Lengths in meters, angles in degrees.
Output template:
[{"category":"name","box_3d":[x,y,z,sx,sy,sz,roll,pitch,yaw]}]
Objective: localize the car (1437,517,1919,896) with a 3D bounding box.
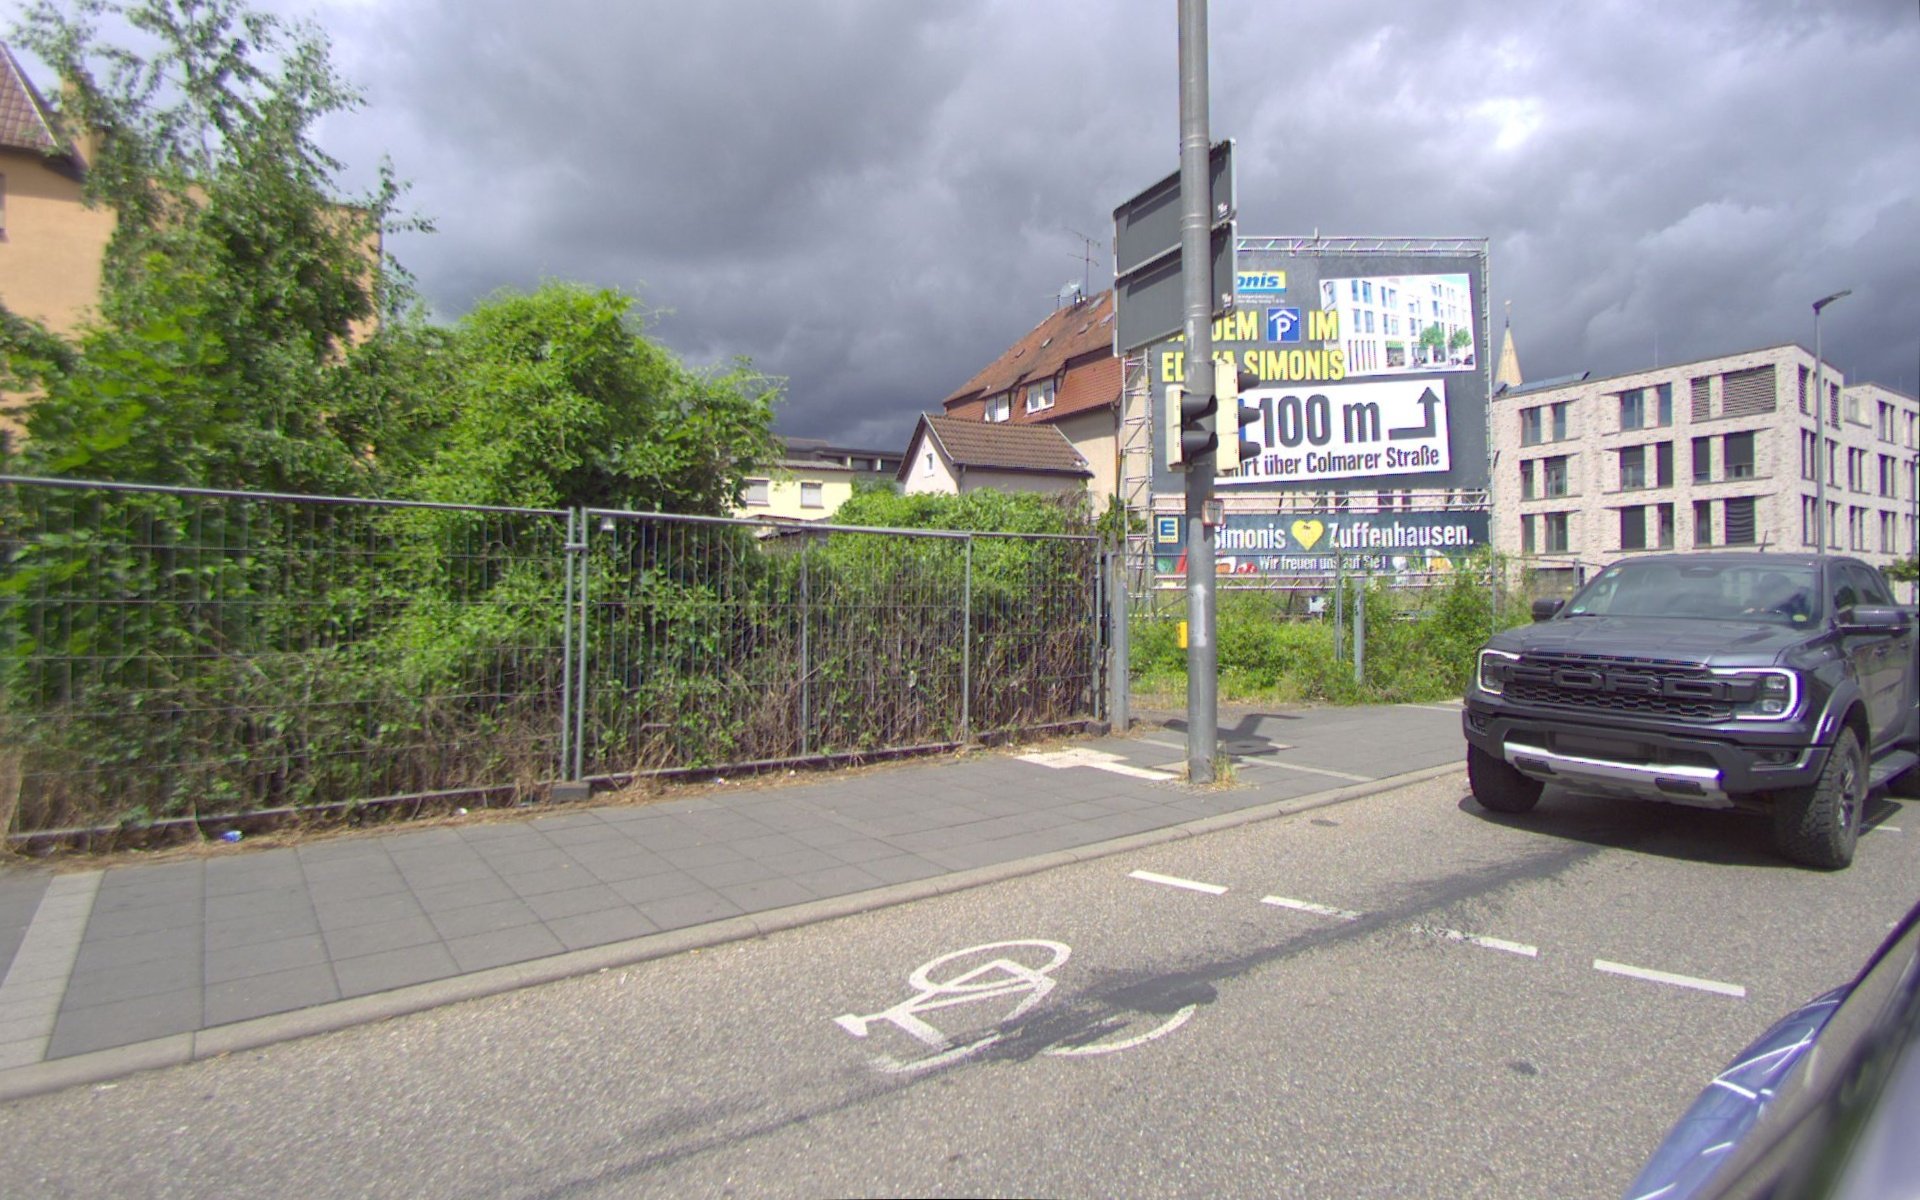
[{"category":"car","box_3d":[5.743,0.470,7.459,5.057,1.910,2.004,-1,2,-39]}]

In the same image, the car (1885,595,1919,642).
[{"category":"car","box_3d":[32.561,0.599,33.952,3.726,1.441,1.678,-1,2,-39]}]

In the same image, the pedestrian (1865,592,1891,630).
[{"category":"pedestrian","box_3d":[37.183,0.435,40.997,0.769,1.531,0.673,1,0,-41]}]
